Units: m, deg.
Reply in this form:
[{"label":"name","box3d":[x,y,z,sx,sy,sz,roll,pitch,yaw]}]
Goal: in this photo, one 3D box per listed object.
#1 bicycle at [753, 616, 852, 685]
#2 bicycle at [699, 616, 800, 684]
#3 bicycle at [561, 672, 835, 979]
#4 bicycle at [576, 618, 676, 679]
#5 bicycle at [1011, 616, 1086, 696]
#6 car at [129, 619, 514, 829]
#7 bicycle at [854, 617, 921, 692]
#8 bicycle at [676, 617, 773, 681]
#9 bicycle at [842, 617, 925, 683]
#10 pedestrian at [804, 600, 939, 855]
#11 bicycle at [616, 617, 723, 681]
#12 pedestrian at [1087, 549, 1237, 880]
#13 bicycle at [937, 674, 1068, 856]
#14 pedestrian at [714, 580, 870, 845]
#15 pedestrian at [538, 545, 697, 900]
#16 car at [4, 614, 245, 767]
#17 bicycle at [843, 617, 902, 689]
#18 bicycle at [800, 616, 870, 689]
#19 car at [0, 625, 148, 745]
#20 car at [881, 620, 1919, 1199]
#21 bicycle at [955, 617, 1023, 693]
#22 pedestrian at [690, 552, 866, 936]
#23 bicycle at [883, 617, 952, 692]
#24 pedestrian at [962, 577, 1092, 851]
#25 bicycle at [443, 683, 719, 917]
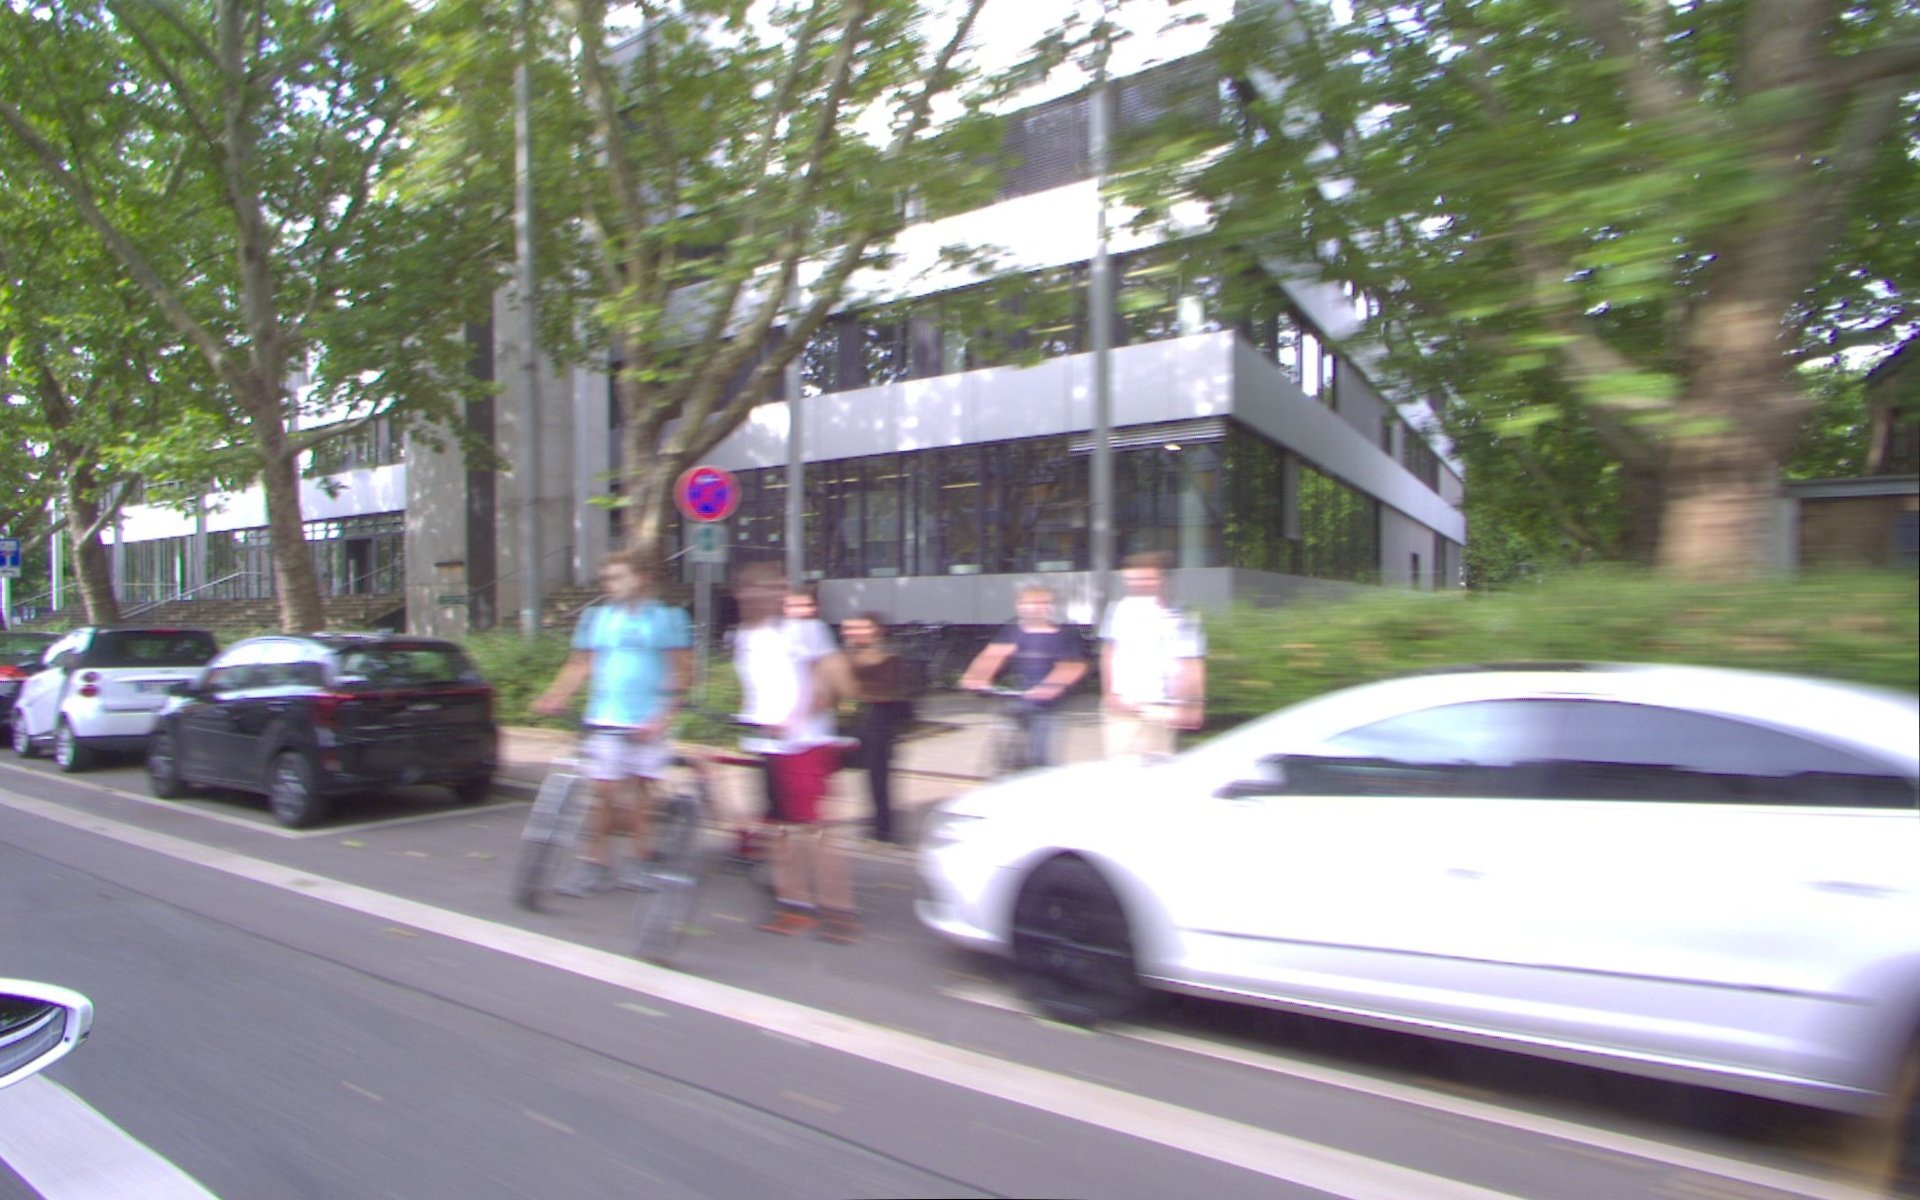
[{"label":"bicycle","box3d":[-2.809,0.878,18.087,0.664,1.132,1.911,0,1,32]},{"label":"bicycle","box3d":[-3.849,0.888,18.448,0.664,1.132,1.911,0,1,32]},{"label":"bicycle","box3d":[-1.254,1.027,5.207,0.543,1.233,1.794,0,-2,15]},{"label":"bicycle","box3d":[-6.706,0.941,20.204,0.664,1.132,1.911,0,1,32]},{"label":"bicycle","box3d":[1.403,0.836,15.571,0.595,1.132,1.673,0,1,26]},{"label":"car","box3d":[-5.745,0.952,8.916,3.608,1.521,1.525,-1,-2,33]},{"label":"bicycle","box3d":[-1.157,0.854,16.221,0.461,1.132,1.378,0,1,25]},{"label":"bicycle","box3d":[-4.509,0.914,19.292,0.664,1.132,1.911,0,1,32]},{"label":"bicycle","box3d":[-1.370,0.879,17.859,1.415,1.132,0.490,0,1,28]},{"label":"pedestrian","box3d":[-0.619,0.855,7.100,0.645,1.679,0.720,0,-1,32]},{"label":"bicycle","box3d":[-5.615,0.919,19.464,0.664,1.132,2.074,0,1,32]},{"label":"pedestrian","box3d":[1.355,0.714,6.659,0.739,2.023,0.792,0,-1,32]},{"label":"bicycle","box3d":[0.370,1.171,7.627,0.454,1.146,1.769,0,-2,21]},{"label":"pedestrian","box3d":[-1.250,0.798,7.536,0.769,1.840,0.869,0,-1,32]},{"label":"pedestrian","box3d":[-2.009,0.684,5.894,0.732,1.959,0.475,0,-1,22]},{"label":"car","box3d":[-9.718,0.974,11.631,2.564,1.563,1.532,-1,-2,36]},{"label":"bicycle","box3d":[-1.457,0.861,16.873,0.502,1.132,1.380,0,1,18]},{"label":"bicycle","box3d":[-2.089,0.859,16.938,0.611,1.132,1.697,0,0,14]},{"label":"car","box3d":[-13.181,1.074,13.768,4.356,1.443,1.696,-1,-2,30]},{"label":"car","box3d":[2.023,0.882,3.834,4.477,1.535,1.679,0,-3,31]},{"label":"bicycle","box3d":[0.475,0.846,15.989,0.461,1.132,1.443,0,1,29]},{"label":"pedestrian","box3d":[-0.938,0.709,5.240,0.731,1.869,0.521,0,-1,18]},{"label":"bicycle","box3d":[-0.668,0.853,16.178,0.461,1.132,1.538,0,1,25]},{"label":"pedestrian","box3d":[0.503,0.795,7.370,0.693,1.879,0.720,0,-1,32]},{"label":"bicycle","box3d":[-2.210,1.112,6.106,0.543,1.119,1.737,0,-2,21]}]
